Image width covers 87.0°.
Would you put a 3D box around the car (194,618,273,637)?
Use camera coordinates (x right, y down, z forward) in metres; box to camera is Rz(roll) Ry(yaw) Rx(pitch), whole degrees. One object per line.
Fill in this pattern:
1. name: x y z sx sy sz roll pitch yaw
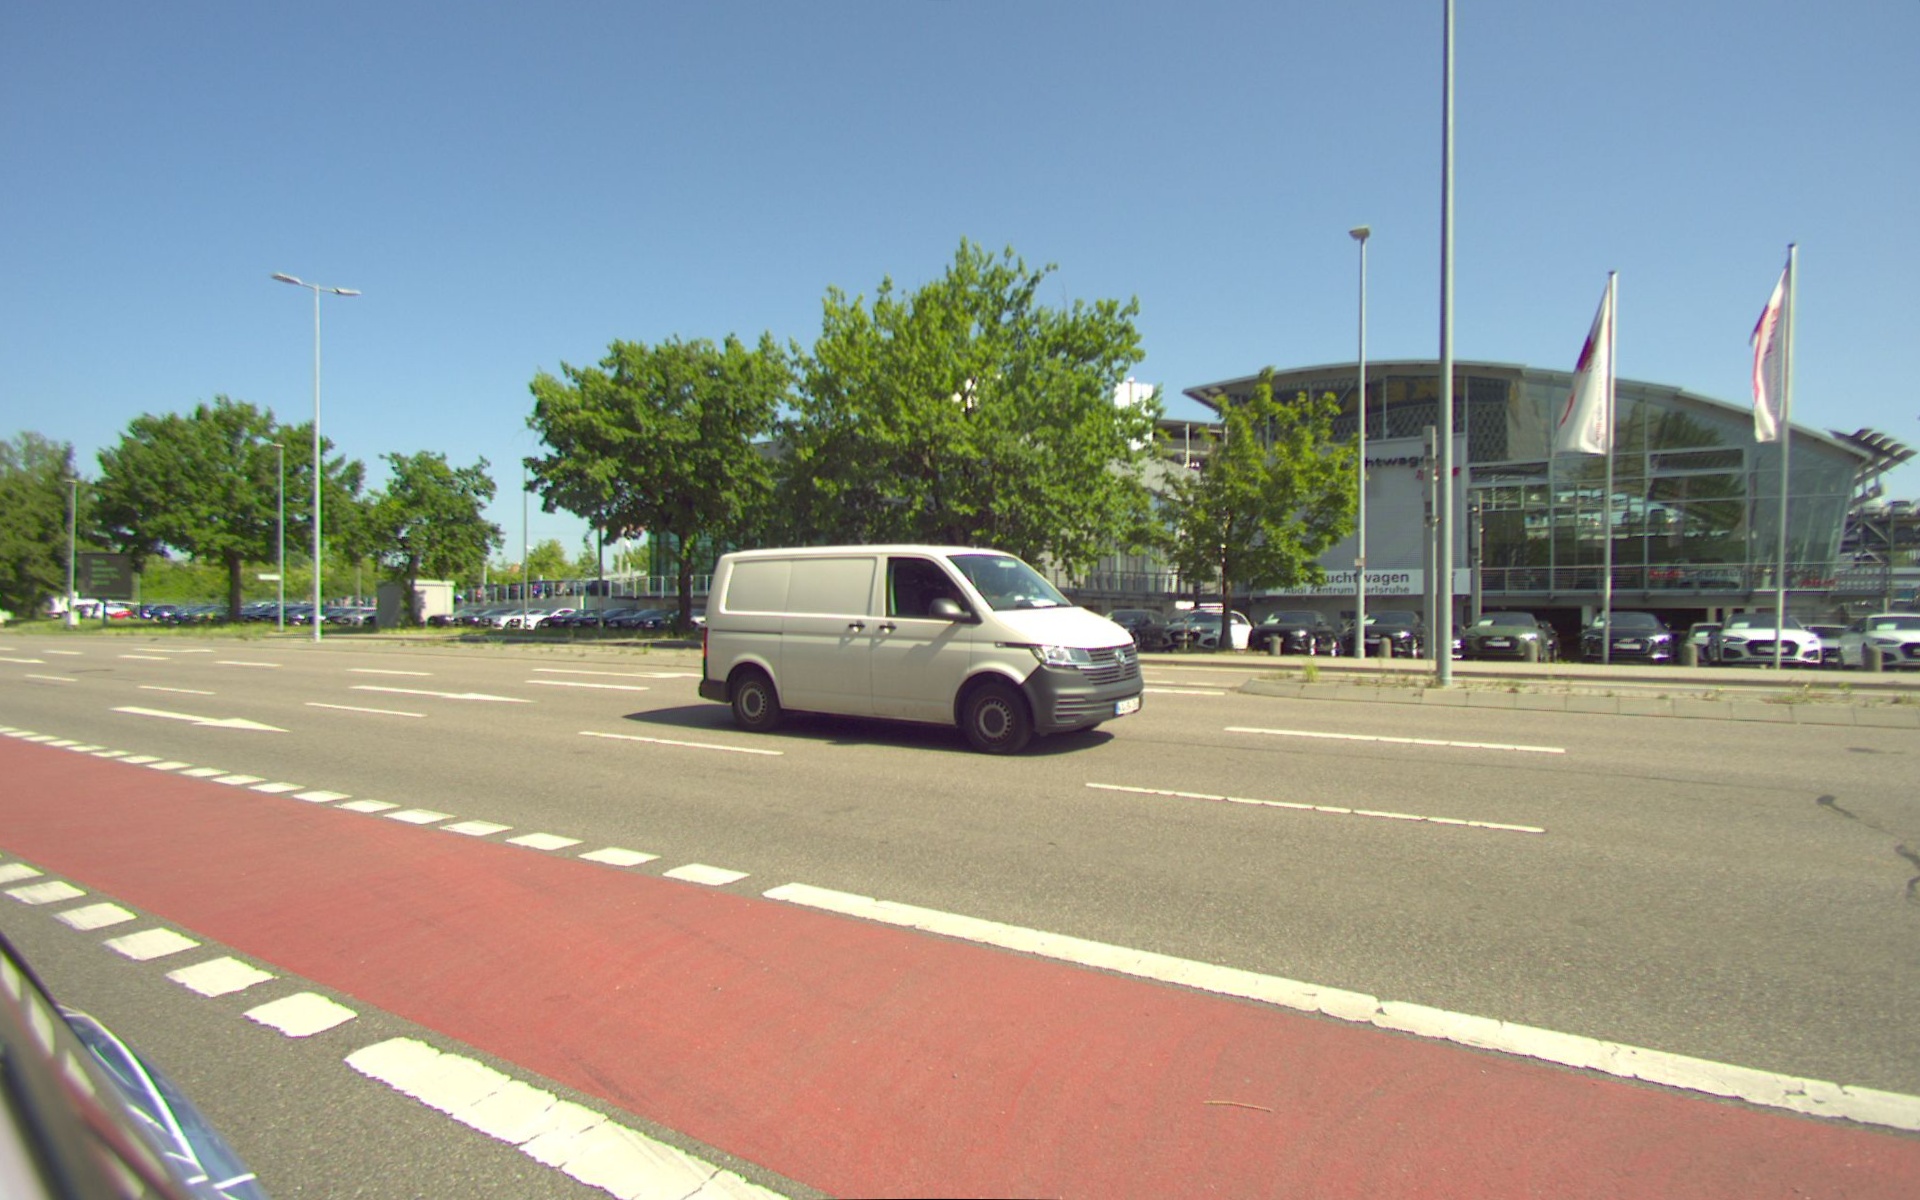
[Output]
1. car: -52.376 1.954 73.031 1.950 1.361 4.228 -1 -2 36

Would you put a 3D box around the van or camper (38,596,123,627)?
1. van or camper: -77.679 0.978 89.468 1.993 2.489 5.339 -3 0 31

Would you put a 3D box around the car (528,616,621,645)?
1. car: -19.002 1.502 50.040 1.919 1.386 3.954 -1 -2 34

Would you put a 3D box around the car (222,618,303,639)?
1. car: -48.143 1.950 69.920 1.950 1.361 4.228 -1 -2 36

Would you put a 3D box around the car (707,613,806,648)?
1. car: -8.586 1.288 42.905 1.919 1.386 3.954 -1 -2 34

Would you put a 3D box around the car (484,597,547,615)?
1. car: -35.778 0.487 81.547 1.949 1.361 4.230 -1 -2 34

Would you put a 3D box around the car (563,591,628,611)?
1. car: -27.142 0.095 75.518 1.949 1.361 4.230 -1 -2 34

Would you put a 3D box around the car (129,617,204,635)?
1. car: -61.258 1.997 78.205 1.950 1.392 4.228 -1 -2 36

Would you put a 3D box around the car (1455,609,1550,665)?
1. car: 14.417 0.946 26.816 1.993 1.353 3.957 -1 -2 31

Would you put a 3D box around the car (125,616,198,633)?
1. car: -63.366 1.921 80.349 1.950 1.338 4.228 -1 -2 36

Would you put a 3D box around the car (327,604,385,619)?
1. car: -55.854 1.085 93.620 1.949 1.361 4.230 -1 -2 34

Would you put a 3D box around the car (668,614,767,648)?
1. car: -10.513 1.333 44.059 1.919 1.386 3.954 -1 -2 34

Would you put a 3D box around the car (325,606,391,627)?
1. car: -49.320 1.393 83.022 1.950 1.655 4.228 -1 -2 36

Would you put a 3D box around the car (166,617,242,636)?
1. car: -56.663 1.955 75.896 1.950 1.361 4.228 -1 -2 36

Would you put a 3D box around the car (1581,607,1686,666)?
1. car: 16.662 0.884 25.171 1.994 1.353 3.956 -1 -2 32

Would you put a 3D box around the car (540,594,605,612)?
1. car: -29.479 0.251 77.082 1.949 1.361 4.230 -1 -2 34

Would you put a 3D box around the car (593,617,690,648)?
1. car: -14.705 1.492 46.913 1.919 1.386 3.954 -1 -2 34

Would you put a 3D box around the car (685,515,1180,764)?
1. car: -0.455 0.382 10.373 4.963 2.009 1.865 -1 -2 35

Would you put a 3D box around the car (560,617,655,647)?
1. car: -16.824 1.509 48.431 1.919 1.386 3.954 -1 -2 34

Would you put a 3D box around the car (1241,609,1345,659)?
1. car: 9.869 0.977 29.842 1.994 1.353 3.956 -1 -2 32

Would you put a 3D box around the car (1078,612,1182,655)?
1. car: 5.622 1.082 33.112 1.994 1.321 3.956 -1 -2 32

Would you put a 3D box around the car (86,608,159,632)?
1. car: -68.372 1.664 82.632 1.950 1.899 4.228 -1 -2 36

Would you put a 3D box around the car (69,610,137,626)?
1. car: -70.812 1.516 83.659 1.740 1.303 4.050 -1 -2 36

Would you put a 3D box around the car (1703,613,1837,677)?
1. car: 18.839 1.010 23.735 1.994 1.353 3.956 -1 -2 32

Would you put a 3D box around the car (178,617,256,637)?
1. car: -54.546 1.973 74.345 1.950 1.361 4.228 -1 -2 36

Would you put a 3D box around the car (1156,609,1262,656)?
1. car: 7.750 0.994 31.249 1.994 1.353 4.118 -1 -2 32

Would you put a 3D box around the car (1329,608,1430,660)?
1. car: 11.911 0.937 28.621 1.994 1.353 3.956 -1 -2 32

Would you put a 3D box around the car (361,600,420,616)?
1. car: -51.378 0.724 91.376 1.949 1.361 4.230 -1 -2 34

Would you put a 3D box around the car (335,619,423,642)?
1. car: -35.129 1.807 61.303 1.950 1.361 4.228 -1 -2 36

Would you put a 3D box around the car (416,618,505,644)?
1. car: -27.430 1.699 55.639 1.995 1.386 3.954 -1 -2 34

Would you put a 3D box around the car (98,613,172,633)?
1. car: -66.384 1.854 81.479 1.950 1.515 4.228 -1 -2 36

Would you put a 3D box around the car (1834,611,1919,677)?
1. car: 20.994 0.941 22.331 1.994 1.353 3.956 -1 -2 32

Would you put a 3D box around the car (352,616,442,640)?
1. car: -33.227 1.657 59.834 1.950 1.361 4.228 -1 -2 36

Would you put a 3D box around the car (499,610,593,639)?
1. car: -20.994 1.252 51.446 2.020 1.386 4.008 -1 -2 34

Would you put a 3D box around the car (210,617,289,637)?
1. car: -50.264 1.891 71.656 1.950 1.361 4.228 -1 -2 36

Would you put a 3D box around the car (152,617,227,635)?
1. car: -58.817 1.980 77.292 1.950 1.361 4.228 -1 -2 36

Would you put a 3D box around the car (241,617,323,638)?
1. car: -46.038 1.863 68.770 1.950 1.361 4.228 -1 -2 36

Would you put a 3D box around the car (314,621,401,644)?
1. car: -37.312 2.015 62.768 1.950 1.361 4.228 -1 -2 36

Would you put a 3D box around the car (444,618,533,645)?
1. car: -25.204 1.660 54.241 1.860 1.386 3.954 -1 -2 34

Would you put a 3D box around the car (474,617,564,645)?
1. car: -22.959 1.613 52.821 1.860 1.386 3.954 -1 -2 34

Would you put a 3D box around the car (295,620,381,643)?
1. car: -39.293 1.978 63.974 1.950 1.361 4.228 -1 -2 36

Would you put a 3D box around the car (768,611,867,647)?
1. car: -5.780 1.169 41.466 1.919 1.386 3.954 -1 -2 34

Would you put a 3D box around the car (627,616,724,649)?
1. car: -12.745 1.447 45.538 1.919 1.386 3.954 -1 -2 34

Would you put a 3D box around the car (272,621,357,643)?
1. car: -41.752 2.073 65.547 1.950 1.361 4.228 -1 -2 36

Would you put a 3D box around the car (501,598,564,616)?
1. car: -33.675 0.542 79.813 1.949 1.361 4.230 -1 -2 34

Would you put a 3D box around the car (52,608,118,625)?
1. car: -74.758 1.418 86.512 1.742 1.449 4.046 -1 -2 39
